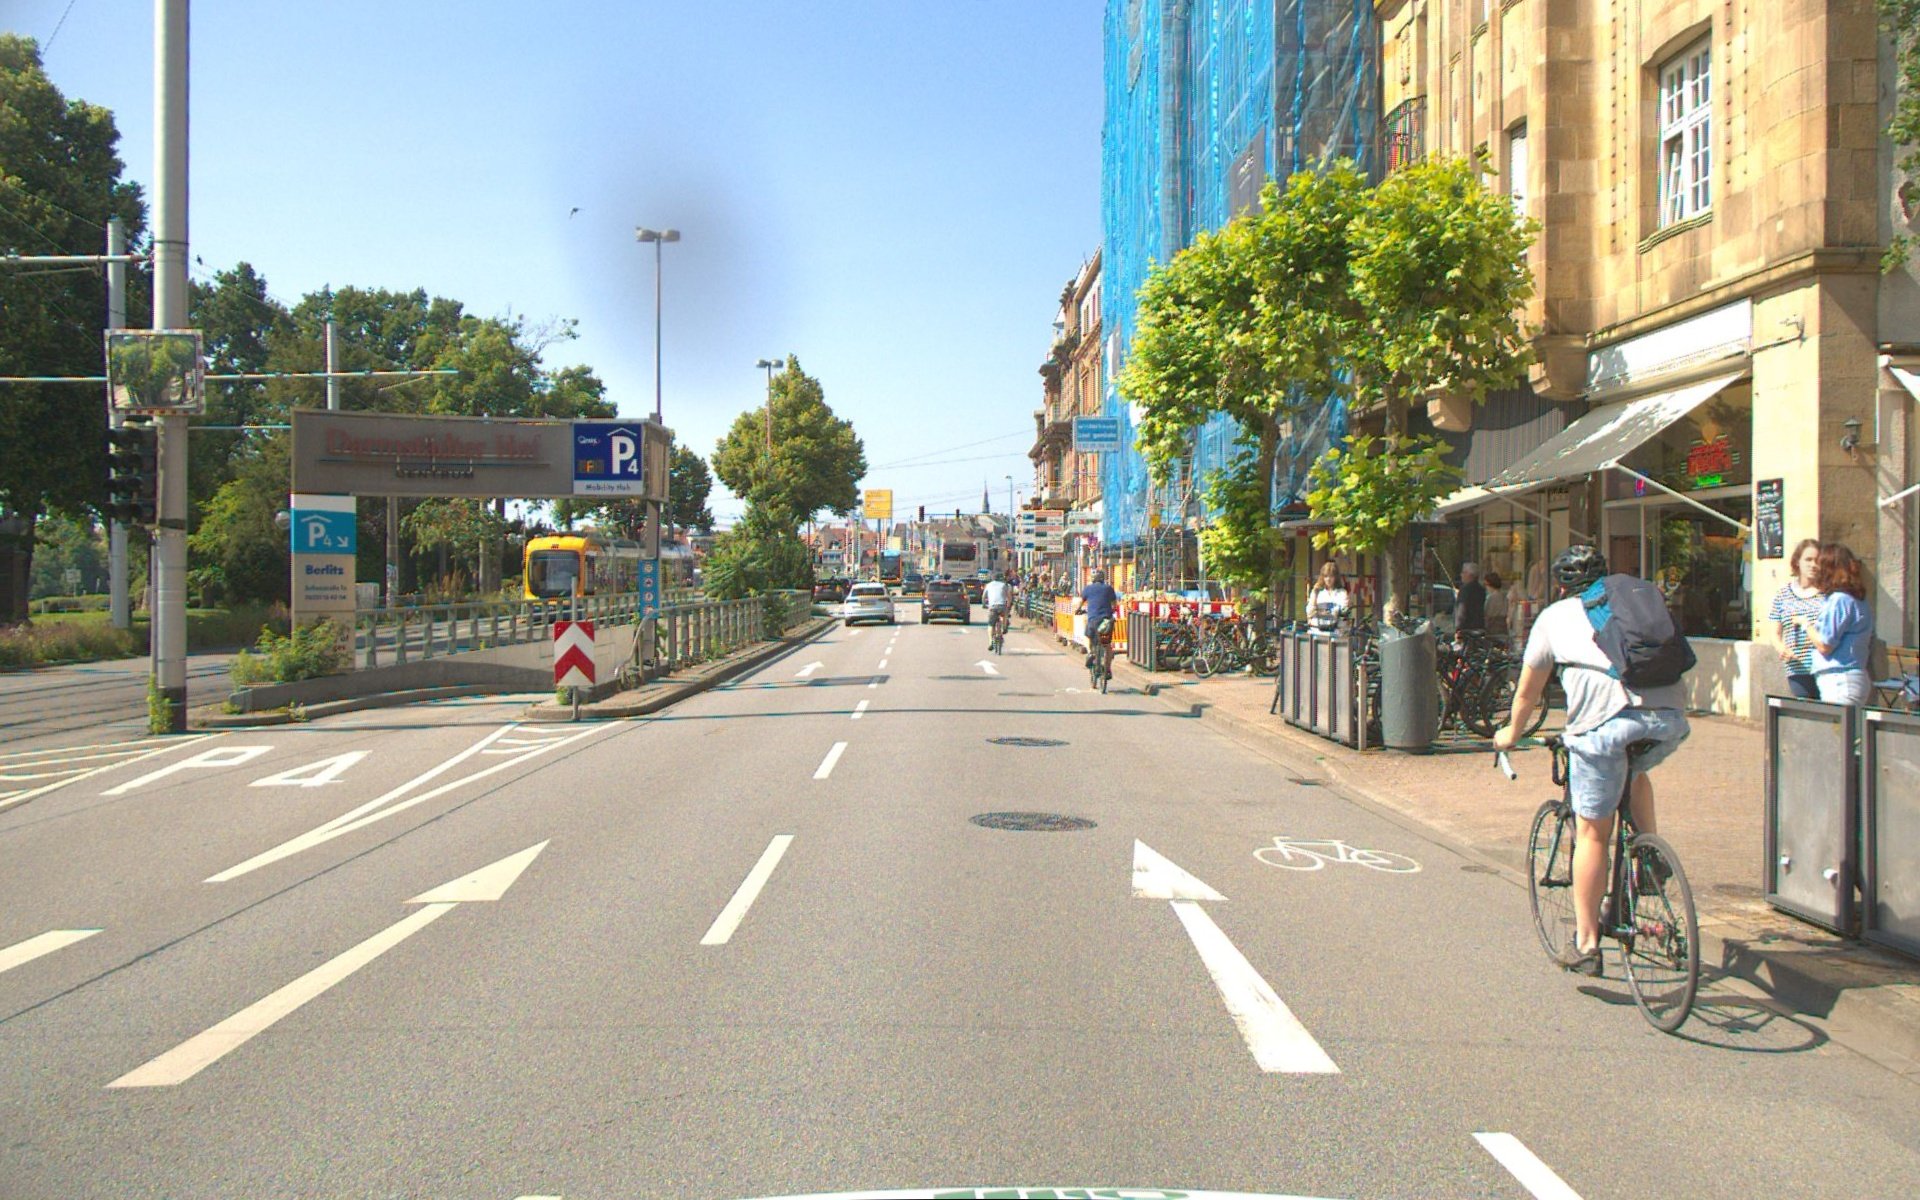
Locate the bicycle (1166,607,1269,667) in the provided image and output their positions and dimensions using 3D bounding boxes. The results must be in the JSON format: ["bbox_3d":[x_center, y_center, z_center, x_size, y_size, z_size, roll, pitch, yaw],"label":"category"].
[{"bbox_3d":[4.507,0.642,28.955,1.718,1.036,0.482,0,0,-3],"label":"bicycle"}]

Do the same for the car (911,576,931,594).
[{"bbox_3d":[-2.969,-1.137,126.760,1.422,1.323,3.342,2,0,0],"label":"car"}]

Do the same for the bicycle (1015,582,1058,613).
[{"bbox_3d":[3.086,-0.098,66.779,1.659,1.199,0.463,1,0,-1],"label":"bicycle"}]

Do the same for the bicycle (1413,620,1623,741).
[{"bbox_3d":[4.946,0.705,14.700,1.718,1.036,0.482,0,0,-3],"label":"bicycle"}]

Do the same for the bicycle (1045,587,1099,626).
[{"bbox_3d":[3.544,0.192,52.278,1.659,1.199,0.608,1,0,-1],"label":"bicycle"}]

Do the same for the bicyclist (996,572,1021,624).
[{"bbox_3d":[1.541,-0.077,52.356,0.674,1.604,1.049,2,0,-3],"label":"bicyclist"}]

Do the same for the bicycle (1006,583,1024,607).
[{"bbox_3d":[2.668,-0.249,80.234,0.719,1.112,1.897,2,0,-2],"label":"bicycle"}]

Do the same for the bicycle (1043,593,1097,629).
[{"bbox_3d":[3.527,0.340,53.073,1.659,1.116,0.608,1,0,-1],"label":"bicycle"}]

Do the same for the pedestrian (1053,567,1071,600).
[{"bbox_3d":[5.263,-0.858,85.609,0.740,1.684,0.837,-4,0,-2],"label":"pedestrian"}]

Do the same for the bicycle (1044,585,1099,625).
[{"bbox_3d":[3.474,0.155,51.583,1.659,1.199,0.608,1,0,-1],"label":"bicycle"}]

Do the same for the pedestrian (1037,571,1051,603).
[{"bbox_3d":[4.348,-0.671,85.495,0.641,1.649,0.815,-1,1,-3],"label":"pedestrian"}]

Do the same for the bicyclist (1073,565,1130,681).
[{"bbox_3d":[2.073,0.329,24.311,0.674,1.644,0.918,2,0,-2],"label":"bicyclist"}]

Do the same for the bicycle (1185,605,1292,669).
[{"bbox_3d":[4.627,0.610,27.476,1.725,1.036,0.480,0,0,-18],"label":"bicycle"}]

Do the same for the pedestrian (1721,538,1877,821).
[{"bbox_3d":[5.139,0.468,10.160,0.586,1.654,0.644,-3,1,4],"label":"pedestrian"}]

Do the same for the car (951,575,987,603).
[{"bbox_3d":[0.480,-0.617,92.616,1.953,1.518,4.000,2,0,0],"label":"car"}]

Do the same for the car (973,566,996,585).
[{"bbox_3d":[2.630,-2.591,175.445,1.951,1.910,4.004,-1,1,8],"label":"car"}]

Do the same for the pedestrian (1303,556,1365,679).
[{"bbox_3d":[5.882,0.269,26.056,0.797,1.881,0.892,-2,0,6],"label":"pedestrian"}]

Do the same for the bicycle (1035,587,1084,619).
[{"bbox_3d":[3.510,0.091,58.501,1.659,1.106,0.608,1,0,-1],"label":"bicycle"}]

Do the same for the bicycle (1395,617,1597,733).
[{"bbox_3d":[4.927,0.684,15.239,1.718,1.036,0.482,0,0,-3],"label":"bicycle"}]

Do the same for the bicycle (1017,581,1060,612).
[{"bbox_3d":[3.116,-0.123,65.636,1.659,1.199,0.490,1,0,-1],"label":"bicycle"}]

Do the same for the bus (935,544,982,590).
[{"bbox_3d":[-0.099,-2.160,109.265,2.908,2.825,8.641,2,0,0],"label":"bus"}]

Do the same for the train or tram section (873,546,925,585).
[{"bbox_3d":[-6.000,-3.420,164.500,2.762,3.643,10.041,2,0,12],"label":"train or tram section"}]

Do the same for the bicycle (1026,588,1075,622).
[{"bbox_3d":[3.287,0.169,59.938,1.735,1.199,0.608,1,0,-1],"label":"bicycle"}]

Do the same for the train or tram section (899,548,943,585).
[{"bbox_3d":[-4.037,-3.447,173.436,2.762,3.643,8.233,2,0,12],"label":"train or tram section"}]

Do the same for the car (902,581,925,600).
[{"bbox_3d":[-3.276,-0.683,117.430,1.421,1.323,3.342,2,0,1],"label":"car"}]

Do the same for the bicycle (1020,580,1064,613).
[{"bbox_3d":[3.188,-0.132,64.508,1.659,1.262,0.608,1,0,-1],"label":"bicycle"}]

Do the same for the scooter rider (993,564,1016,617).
[{"bbox_3d":[1.508,-0.322,56.332,0.674,1.759,0.778,2,0,-3],"label":"scooter rider"}]

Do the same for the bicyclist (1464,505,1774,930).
[{"bbox_3d":[2.508,0.411,6.423,0.674,1.488,1.142,2,0,-3],"label":"bicyclist"}]

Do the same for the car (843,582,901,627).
[{"bbox_3d":[-3.118,0.135,59.370,1.821,1.533,4.000,2,0,0],"label":"car"}]

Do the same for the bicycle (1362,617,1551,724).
[{"bbox_3d":[4.927,0.691,16.450,1.718,1.036,0.557,0,0,-3],"label":"bicycle"}]

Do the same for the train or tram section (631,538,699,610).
[{"bbox_3d":[-15.662,-1.363,88.113,2.560,3.643,6.016,2,0,-1],"label":"train or tram section"}]

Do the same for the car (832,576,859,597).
[{"bbox_3d":[-7.315,-0.863,105.862,1.422,1.323,4.000,2,0,0],"label":"car"}]

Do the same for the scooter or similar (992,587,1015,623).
[{"bbox_3d":[1.479,0.152,56.308,0.674,1.188,1.463,2,0,-3],"label":"scooter or similar"}]

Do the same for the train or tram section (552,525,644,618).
[{"bbox_3d":[-15.203,-1.179,69.799,2.560,3.643,6.102,2,0,-1],"label":"train or tram section"}]

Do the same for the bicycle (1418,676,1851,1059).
[{"bbox_3d":[2.493,0.922,6.448,0.719,1.112,2.130,2,0,-2],"label":"bicycle"}]

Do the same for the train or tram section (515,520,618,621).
[{"bbox_3d":[-15.072,-1.119,63.724,2.561,3.643,6.102,2,0,-1],"label":"train or tram section"}]

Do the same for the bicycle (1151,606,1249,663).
[{"bbox_3d":[4.390,0.629,30.326,1.718,1.036,0.482,0,0,-3],"label":"bicycle"}]

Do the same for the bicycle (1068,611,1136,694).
[{"bbox_3d":[2.070,0.750,24.336,0.719,1.112,1.910,2,0,-2],"label":"bicycle"}]

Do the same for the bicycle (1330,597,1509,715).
[{"bbox_3d":[4.779,0.576,17.250,1.718,1.202,0.579,0,0,-3],"label":"bicycle"}]

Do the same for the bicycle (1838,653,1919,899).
[{"bbox_3d":[4.889,0.762,7.381,1.718,1.036,0.482,0,0,-3],"label":"bicycle"}]

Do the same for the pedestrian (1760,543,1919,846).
[{"bbox_3d":[5.106,0.516,9.461,0.681,1.654,0.702,-1,0,-2],"label":"pedestrian"}]

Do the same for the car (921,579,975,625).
[{"bbox_3d":[-0.419,0.051,59.698,1.835,1.518,4.000,2,0,0],"label":"car"}]

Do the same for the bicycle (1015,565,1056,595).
[{"bbox_3d":[3.130,-0.829,68.927,1.659,1.199,0.608,-1,1,-1],"label":"bicycle"}]

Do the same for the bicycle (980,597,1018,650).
[{"bbox_3d":[0.861,0.511,37.045,0.719,1.112,1.897,2,0,-2],"label":"bicycle"}]

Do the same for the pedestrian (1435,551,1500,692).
[{"bbox_3d":[6.309,0.264,20.563,0.529,1.712,0.495,-2,0,-26],"label":"pedestrian"}]

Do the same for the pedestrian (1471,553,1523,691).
[{"bbox_3d":[6.765,0.275,20.840,0.468,1.712,0.380,-1,0,-20],"label":"pedestrian"}]

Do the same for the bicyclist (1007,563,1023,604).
[{"bbox_3d":[2.666,-0.801,80.221,0.674,1.996,0.778,2,0,-3],"label":"bicyclist"}]

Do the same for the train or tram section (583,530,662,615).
[{"bbox_3d":[-15.344,-1.236,75.509,2.560,3.643,5.356,2,0,-1],"label":"train or tram section"}]

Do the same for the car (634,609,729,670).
[{"bbox_3d":[-7.790,1.066,46.592,1.953,1.534,4.000,2,0,0],"label":"car"}]

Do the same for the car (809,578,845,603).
[{"bbox_3d":[-7.685,-0.561,95.790,1.778,1.355,4.000,2,0,0],"label":"car"}]

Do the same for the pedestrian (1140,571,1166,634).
[{"bbox_3d":[5.588,0.068,47.985,0.626,1.807,0.649,2,0,-1],"label":"pedestrian"}]

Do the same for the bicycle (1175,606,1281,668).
[{"bbox_3d":[4.585,0.627,28.330,1.718,1.036,0.482,0,0,-3],"label":"bicycle"}]

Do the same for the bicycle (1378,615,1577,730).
[{"bbox_3d":[4.937,0.681,15.816,1.718,1.036,0.587,-1,0,-3],"label":"bicycle"}]

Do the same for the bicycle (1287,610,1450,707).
[{"bbox_3d":[4.630,0.647,18.747,1.716,1.036,0.657,0,0,22],"label":"bicycle"}]

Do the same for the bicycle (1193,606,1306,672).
[{"bbox_3d":[4.629,0.624,26.491,1.718,1.036,0.482,0,0,-3],"label":"bicycle"}]

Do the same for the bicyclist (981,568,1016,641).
[{"bbox_3d":[0.854,0.088,37.079,0.674,1.604,1.049,2,0,-3],"label":"bicyclist"}]

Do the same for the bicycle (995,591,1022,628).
[{"bbox_3d":[1.522,0.300,52.365,0.719,1.112,1.897,2,0,-2],"label":"bicycle"}]

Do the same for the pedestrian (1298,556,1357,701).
[{"bbox_3d":[4.420,0.337,19.916,0.642,1.712,0.654,0,-1,9],"label":"pedestrian"}]
